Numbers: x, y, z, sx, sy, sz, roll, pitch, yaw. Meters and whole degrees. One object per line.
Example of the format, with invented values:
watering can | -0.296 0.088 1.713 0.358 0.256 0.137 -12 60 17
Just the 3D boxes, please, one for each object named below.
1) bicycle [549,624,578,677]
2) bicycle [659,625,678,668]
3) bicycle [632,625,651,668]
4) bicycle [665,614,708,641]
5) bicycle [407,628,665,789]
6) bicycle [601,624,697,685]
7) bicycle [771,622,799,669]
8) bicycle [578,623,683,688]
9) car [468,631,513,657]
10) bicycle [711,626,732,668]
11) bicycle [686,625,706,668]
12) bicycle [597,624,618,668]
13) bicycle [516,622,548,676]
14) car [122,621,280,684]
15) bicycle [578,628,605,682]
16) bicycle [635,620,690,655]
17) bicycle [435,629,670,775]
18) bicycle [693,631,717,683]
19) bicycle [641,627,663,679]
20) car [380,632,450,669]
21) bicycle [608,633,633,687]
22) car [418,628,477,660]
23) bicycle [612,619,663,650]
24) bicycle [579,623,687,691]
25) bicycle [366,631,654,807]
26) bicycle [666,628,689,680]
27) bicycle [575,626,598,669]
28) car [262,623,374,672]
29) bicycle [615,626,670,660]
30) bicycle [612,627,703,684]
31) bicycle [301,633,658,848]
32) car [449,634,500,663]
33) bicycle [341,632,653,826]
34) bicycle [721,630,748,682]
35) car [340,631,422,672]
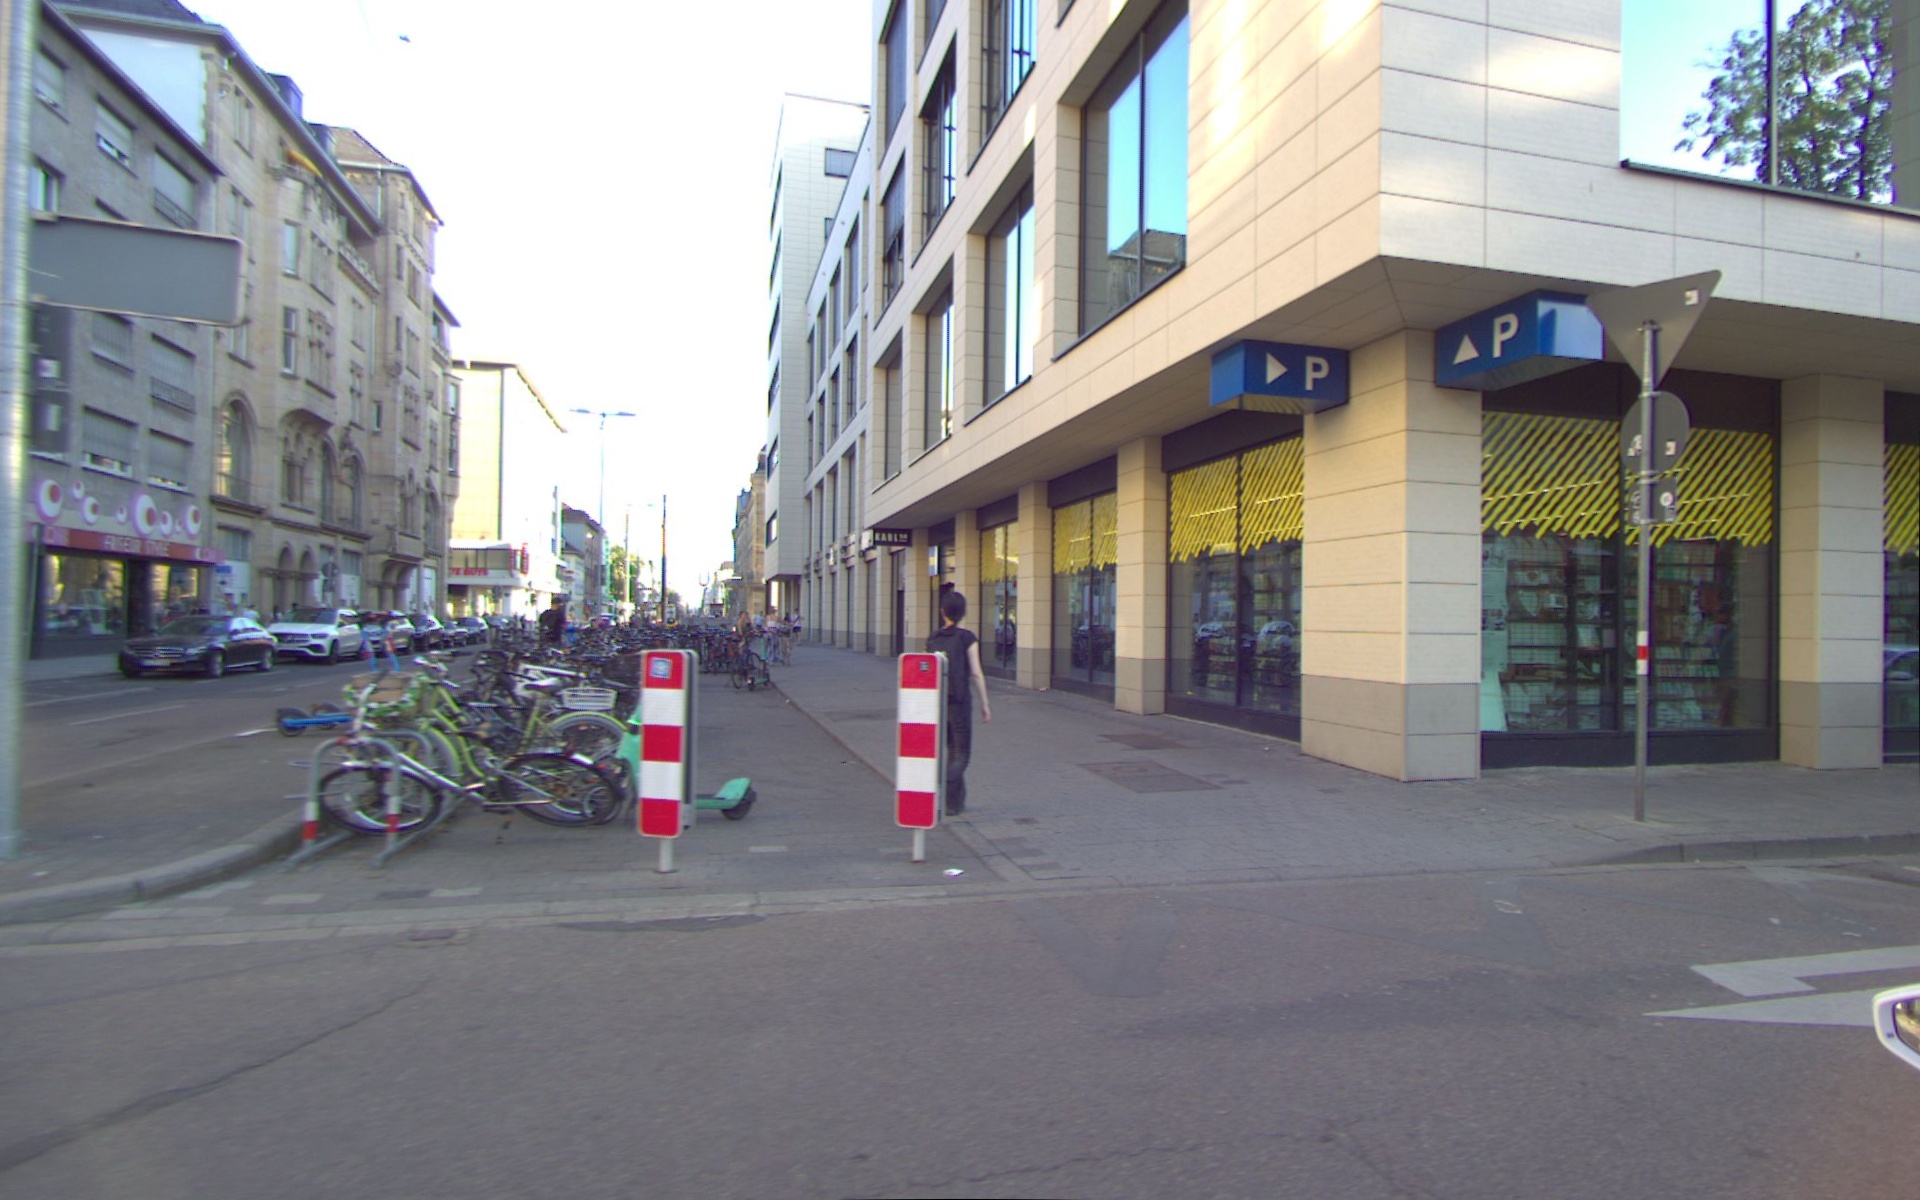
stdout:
bicycle | -9.982 1.245 25.338 0.505 1.271 1.972 1 -1 -17
bicycle | -9.168 1.436 31.540 0.505 1.271 1.972 1 -1 -17
bicycle | -9.941 1.445 31.368 0.505 1.271 1.972 1 -1 -17
bicycle | -13.239 1.339 48.606 1.951 1.271 0.510 2 -1 -24
bicycle | -3.540 0.900 8.554 1.947 1.271 0.511 2 -1 -17
bicycle | -6.719 1.180 21.776 1.947 1.271 0.511 2 -1 -17
bicycle | -5.014 1.268 28.685 0.602 1.271 1.973 1 -1 -15
bicycle | -6.598 1.114 20.180 1.947 1.271 0.511 2 -1 -17
car | -27.600 2.574 59.133 1.834 1.409 3.985 1 -1 -18
bicycle | -7.596 1.470 31.935 0.505 1.271 1.972 1 -1 -17
bicycle | -8.325 1.447 31.668 0.505 1.271 1.972 1 -1 -17
bicycle | -10.871 1.402 31.007 0.505 1.271 1.972 1 -1 -17
bicycle | -10.681 1.191 25.093 0.505 1.271 1.972 1 -1 -17
car | -18.414 1.216 24.599 1.834 1.409 3.985 1 -1 -18
bicycle | -9.375 1.374 25.562 0.505 1.271 1.972 1 -1 -17
bicycle | -11.219 1.419 37.902 1.947 1.271 0.511 2 -1 -17
bicycle | -3.719 0.922 9.320 1.947 1.271 0.511 2 -1 -18
bicycle | -6.700 1.478 26.337 0.505 1.271 1.972 1 -1 -17
bicycle | -7.958 1.347 25.948 0.505 1.271 1.972 1 -1 -17
car | -22.787 2.083 42.125 1.834 1.409 3.985 1 -1 -18
bicycle | -8.683 1.511 25.737 0.505 1.271 1.972 1 -1 -17
car | -24.260 2.070 47.670 1.834 1.409 3.985 1 -1 -18
bicycle | -13.435 1.442 41.806 1.951 1.271 0.510 2 -1 -24
bicycle | -6.315 1.108 19.487 1.947 1.271 0.511 2 -1 -17
bicycle | -3.425 0.898 7.802 1.946 1.271 0.512 2 -1 -15
bicycle | -7.361 1.390 26.158 0.505 1.271 1.972 1 -1 -17
bicycle | -11.452 1.437 30.806 0.505 1.271 1.972 1 -1 -17
car | -20.207 1.448 31.841 1.834 1.409 4.605 1 -1 -18
bicycle | -12.205 1.644 38.663 1.951 1.271 0.510 2 -1 -24
bicycle | -6.970 1.293 23.199 1.947 1.271 0.511 2 -1 -17
bicycle | -3.054 0.875 6.597 2.012 1.271 0.580 2 -1 -19
car | -25.505 2.511 52.883 1.834 1.409 3.985 1 -1 -18
bicycle | -3.239 0.887 7.208 1.948 1.271 0.511 2 -1 -19
bicycle | -5.906 1.438 26.244 0.505 1.271 1.972 1 -1 -17
car | -21.675 1.878 37.754 1.834 1.409 3.985 1 -1 -18
